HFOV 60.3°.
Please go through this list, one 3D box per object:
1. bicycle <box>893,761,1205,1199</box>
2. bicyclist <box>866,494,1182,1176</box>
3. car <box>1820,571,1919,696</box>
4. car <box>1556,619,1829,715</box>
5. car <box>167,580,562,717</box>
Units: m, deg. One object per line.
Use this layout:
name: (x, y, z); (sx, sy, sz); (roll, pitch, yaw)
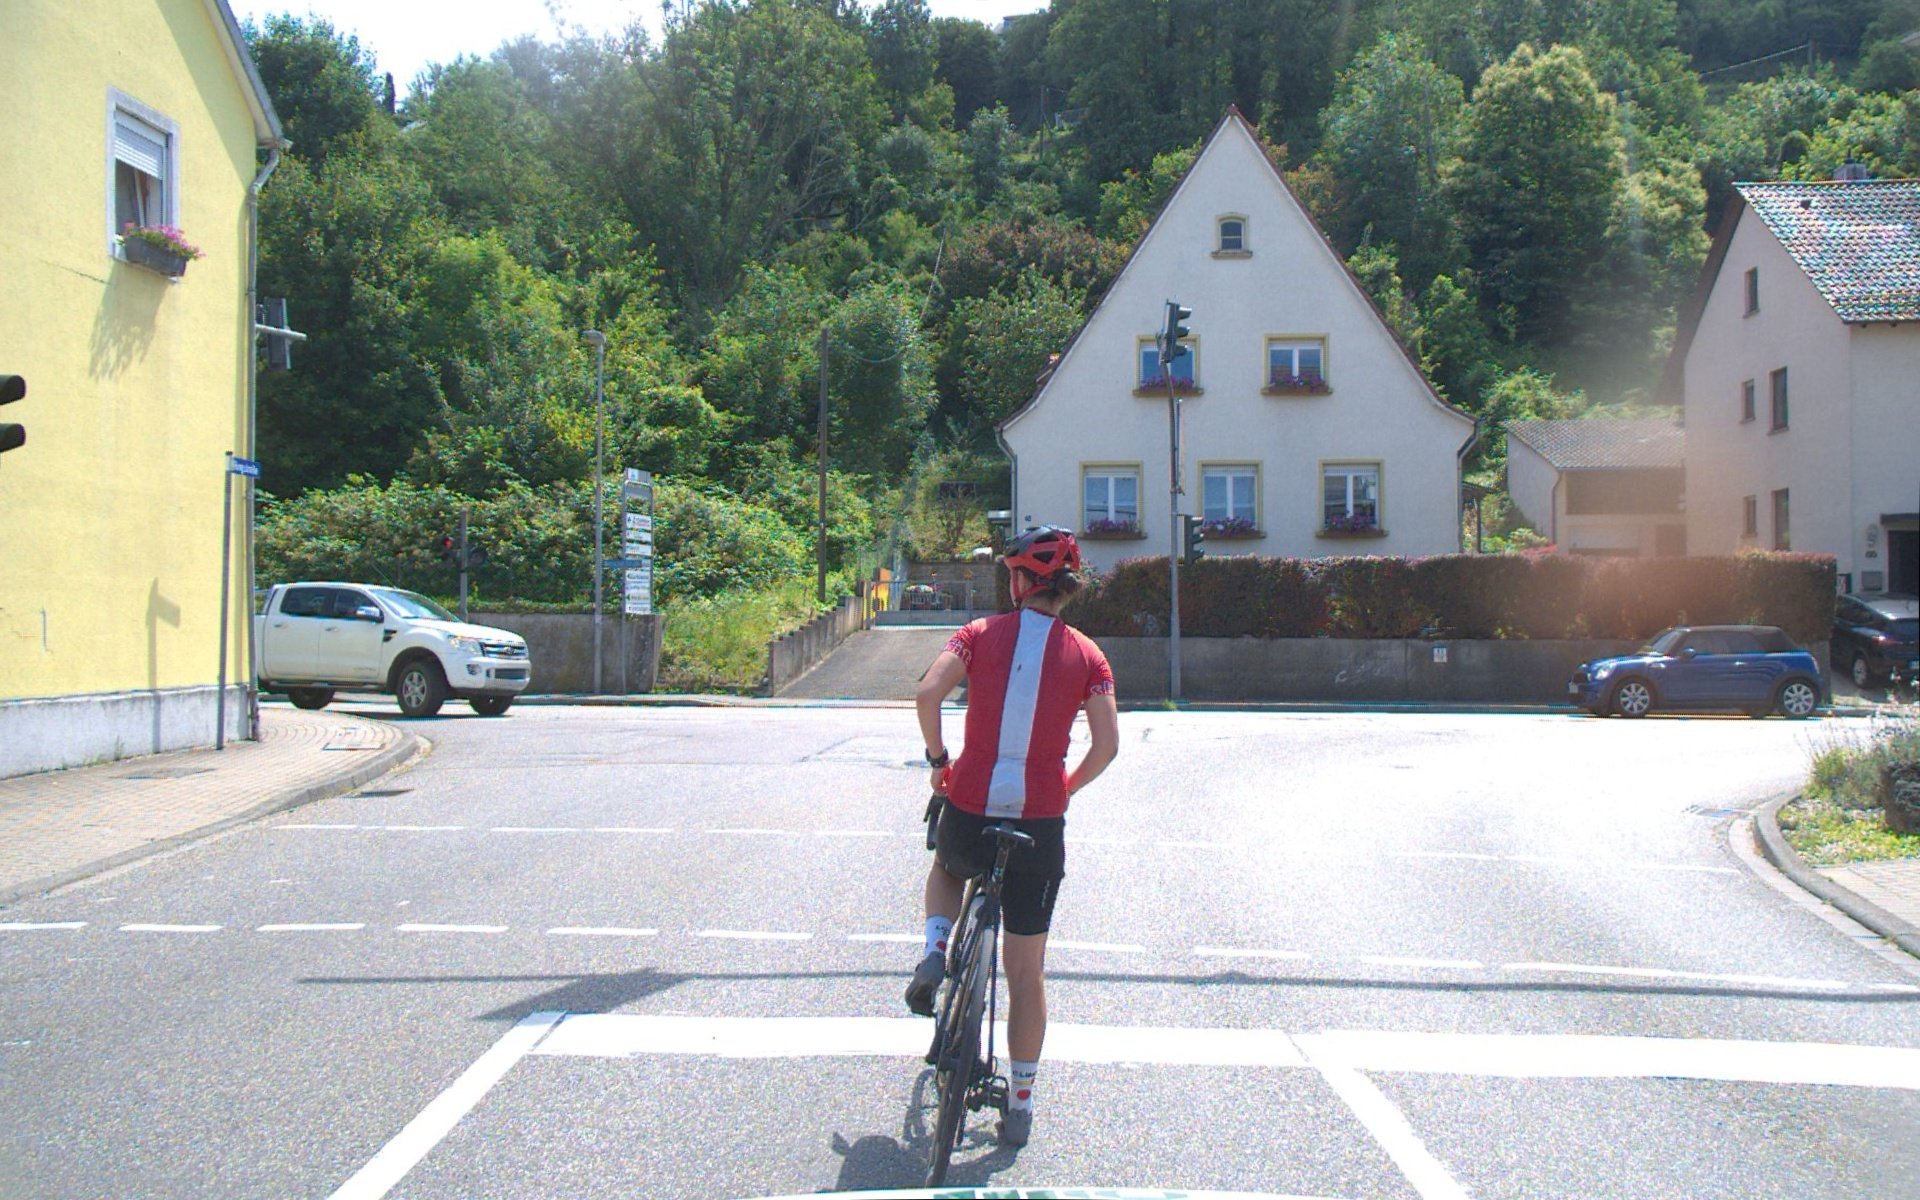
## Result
bicycle: (0.165, 0.978, 4.468); (0.617, 0.920, 1.655); (1, 0, -4)
bicyclist: (0.139, 0.592, 4.576); (0.746, 1.693, 0.868); (1, 0, -5)
car: (17.314, 0.569, 30.750); (1.758, 1.411, 3.696); (0, 13, 19)
car: (11.307, 1.045, 25.720); (3.533, 1.387, 1.645); (1, -3, 3)
car: (-8.475, 0.681, 23.561); (5.186, 1.807, 1.979); (-1, 0, 19)
